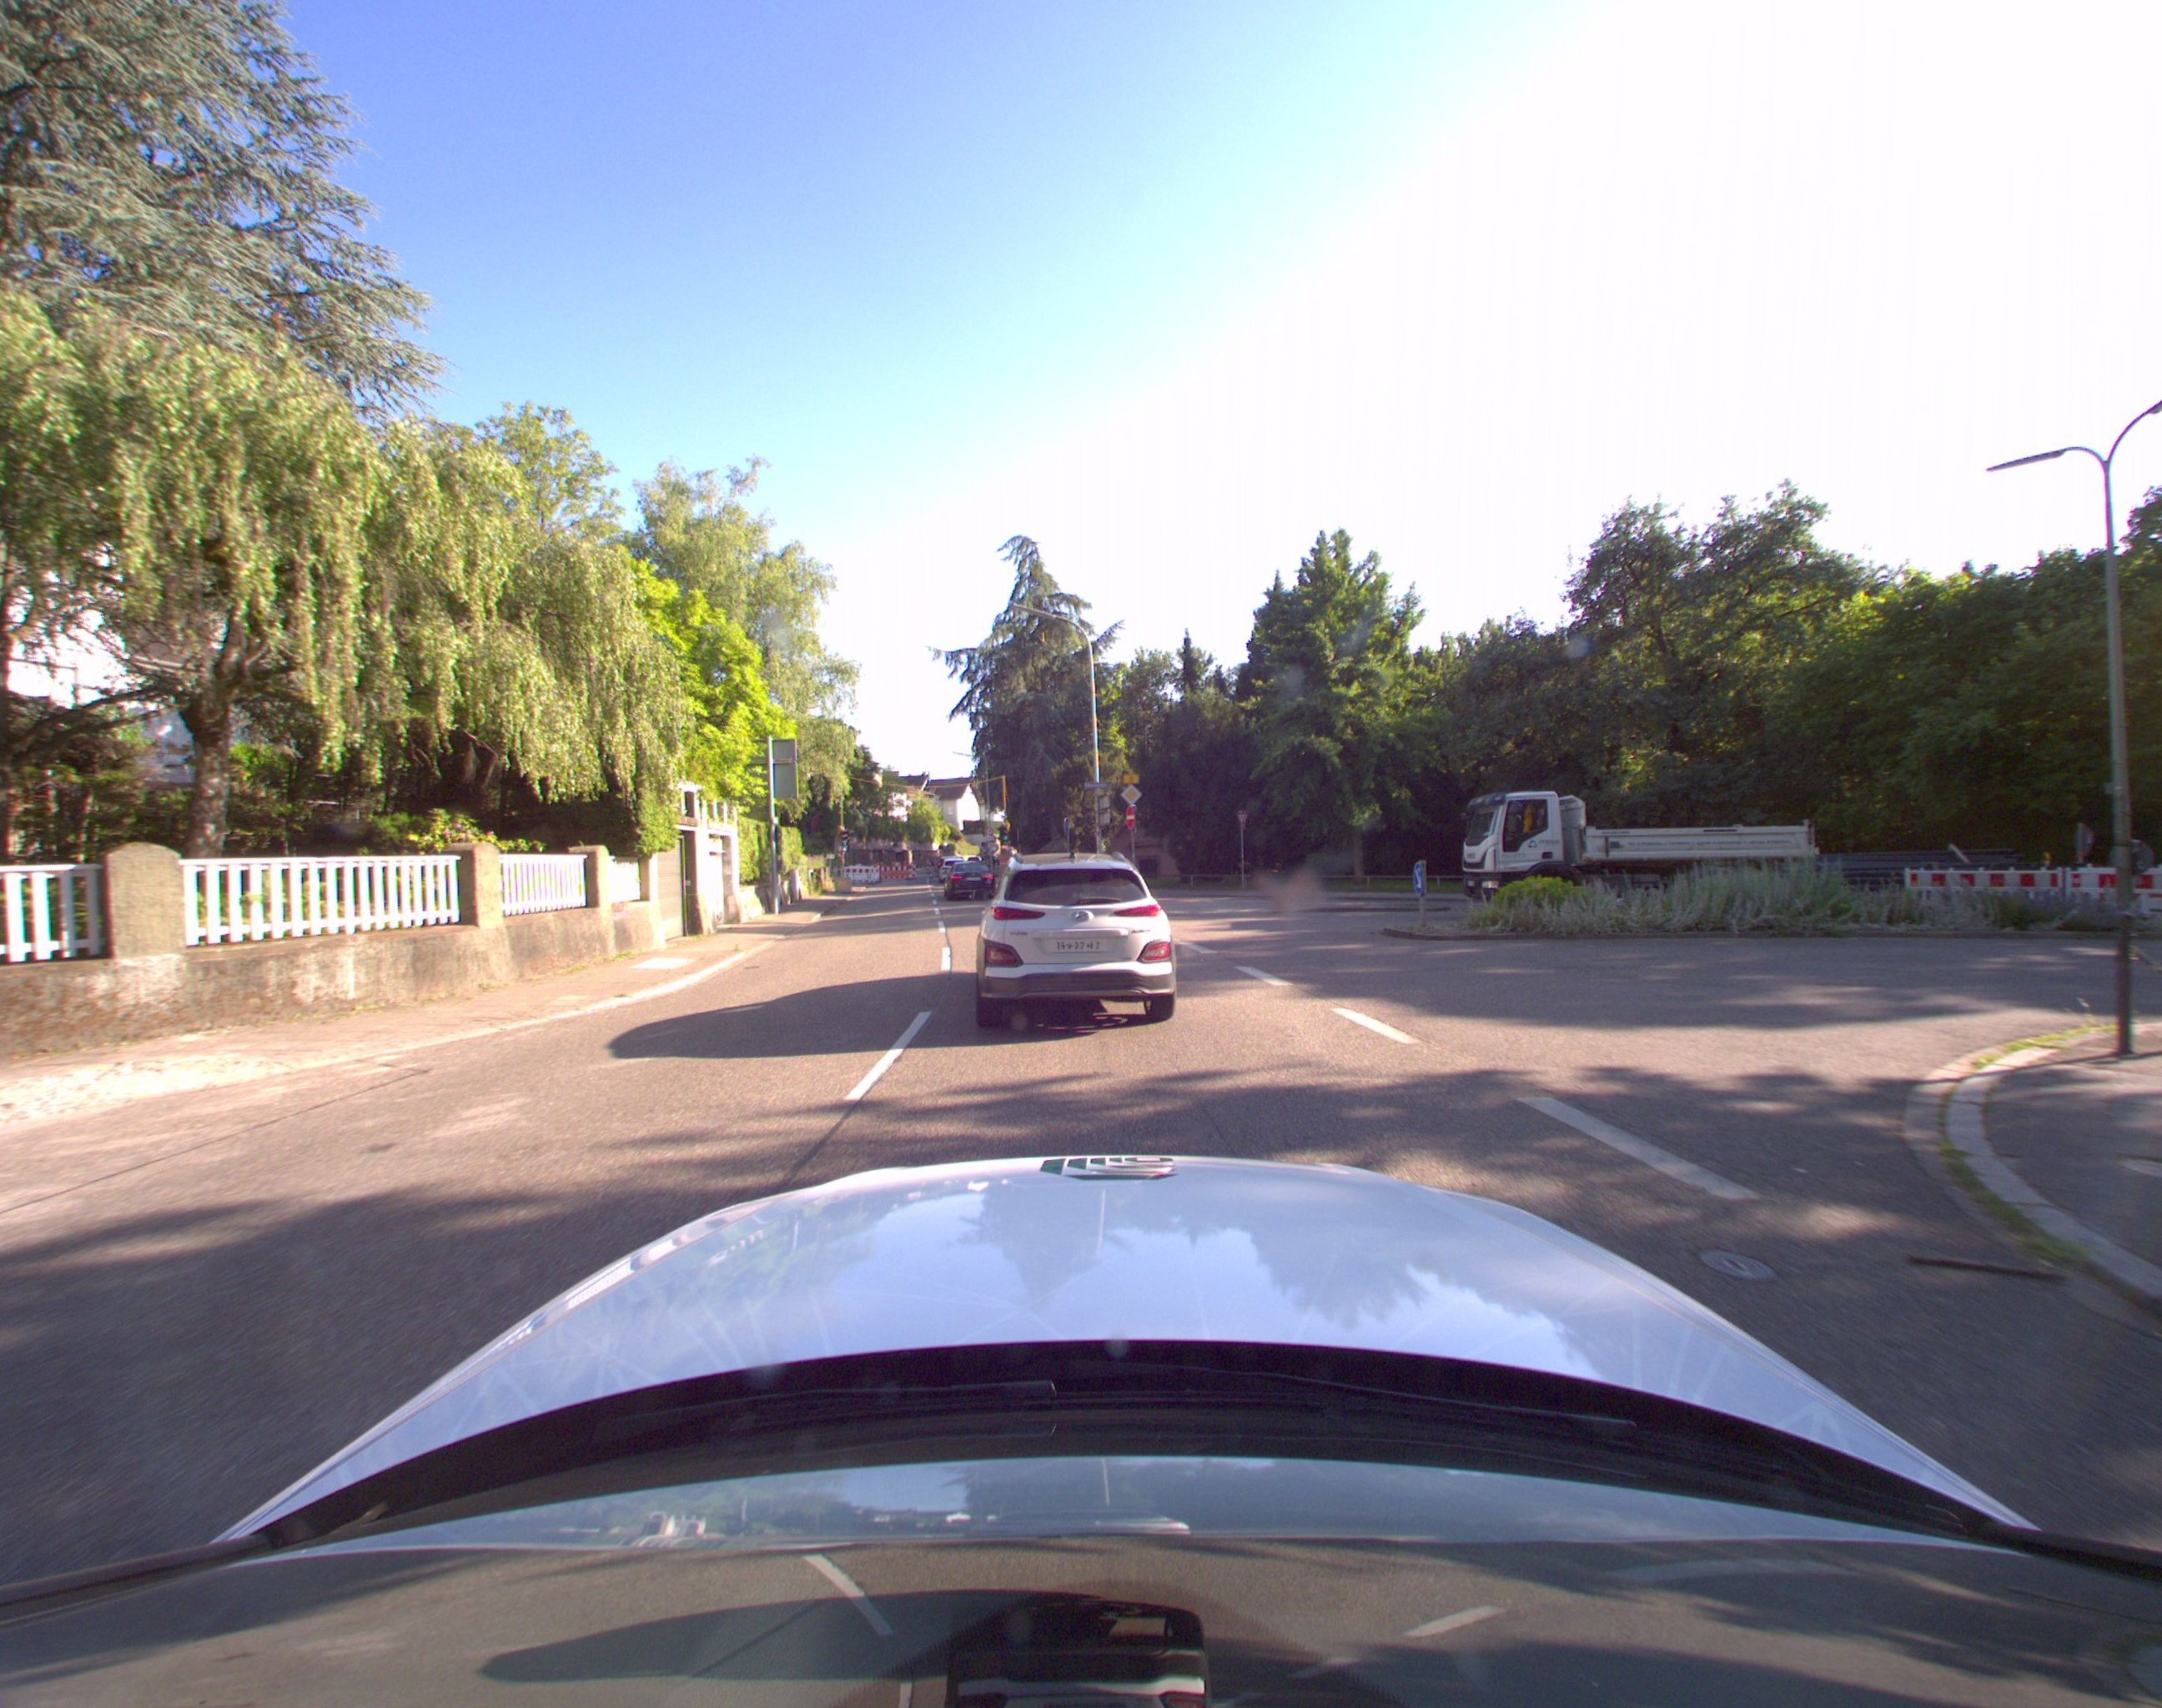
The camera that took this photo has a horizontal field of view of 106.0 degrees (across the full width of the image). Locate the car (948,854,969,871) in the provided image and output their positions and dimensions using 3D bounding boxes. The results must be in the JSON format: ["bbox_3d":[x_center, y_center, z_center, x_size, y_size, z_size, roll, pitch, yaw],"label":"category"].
[{"bbox_3d":[-12.869,0.894,85.770,1.828,1.740,3.994,0,0,-4],"label":"car"}]

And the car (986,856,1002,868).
[{"bbox_3d":[-12.185,1.098,113.764,1.826,1.662,3.999,-1,0,0],"label":"car"}]

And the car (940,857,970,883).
[{"bbox_3d":[-8.120,0.988,52.266,1.806,1.537,3.985,0,0,-11],"label":"car"}]

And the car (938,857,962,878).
[{"bbox_3d":[-10.841,1.123,67.564,1.831,1.662,3.988,0,0,-8],"label":"car"}]

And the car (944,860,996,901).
[{"bbox_3d":[-4.394,0.974,31.670,1.709,1.434,4.347,0,0,-12],"label":"car"}]

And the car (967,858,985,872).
[{"bbox_3d":[-12.841,1.304,99.634,1.827,1.662,3.995,-1,0,-3],"label":"car"}]

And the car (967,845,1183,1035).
[{"bbox_3d":[-0.206,0.713,8.851,1.817,1.574,3.993,0,0,-5],"label":"car"}]

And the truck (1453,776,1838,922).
[{"bbox_3d":[12.020,-0.080,17.956,6.544,2.895,2.441,0,0,11],"label":"truck"}]
